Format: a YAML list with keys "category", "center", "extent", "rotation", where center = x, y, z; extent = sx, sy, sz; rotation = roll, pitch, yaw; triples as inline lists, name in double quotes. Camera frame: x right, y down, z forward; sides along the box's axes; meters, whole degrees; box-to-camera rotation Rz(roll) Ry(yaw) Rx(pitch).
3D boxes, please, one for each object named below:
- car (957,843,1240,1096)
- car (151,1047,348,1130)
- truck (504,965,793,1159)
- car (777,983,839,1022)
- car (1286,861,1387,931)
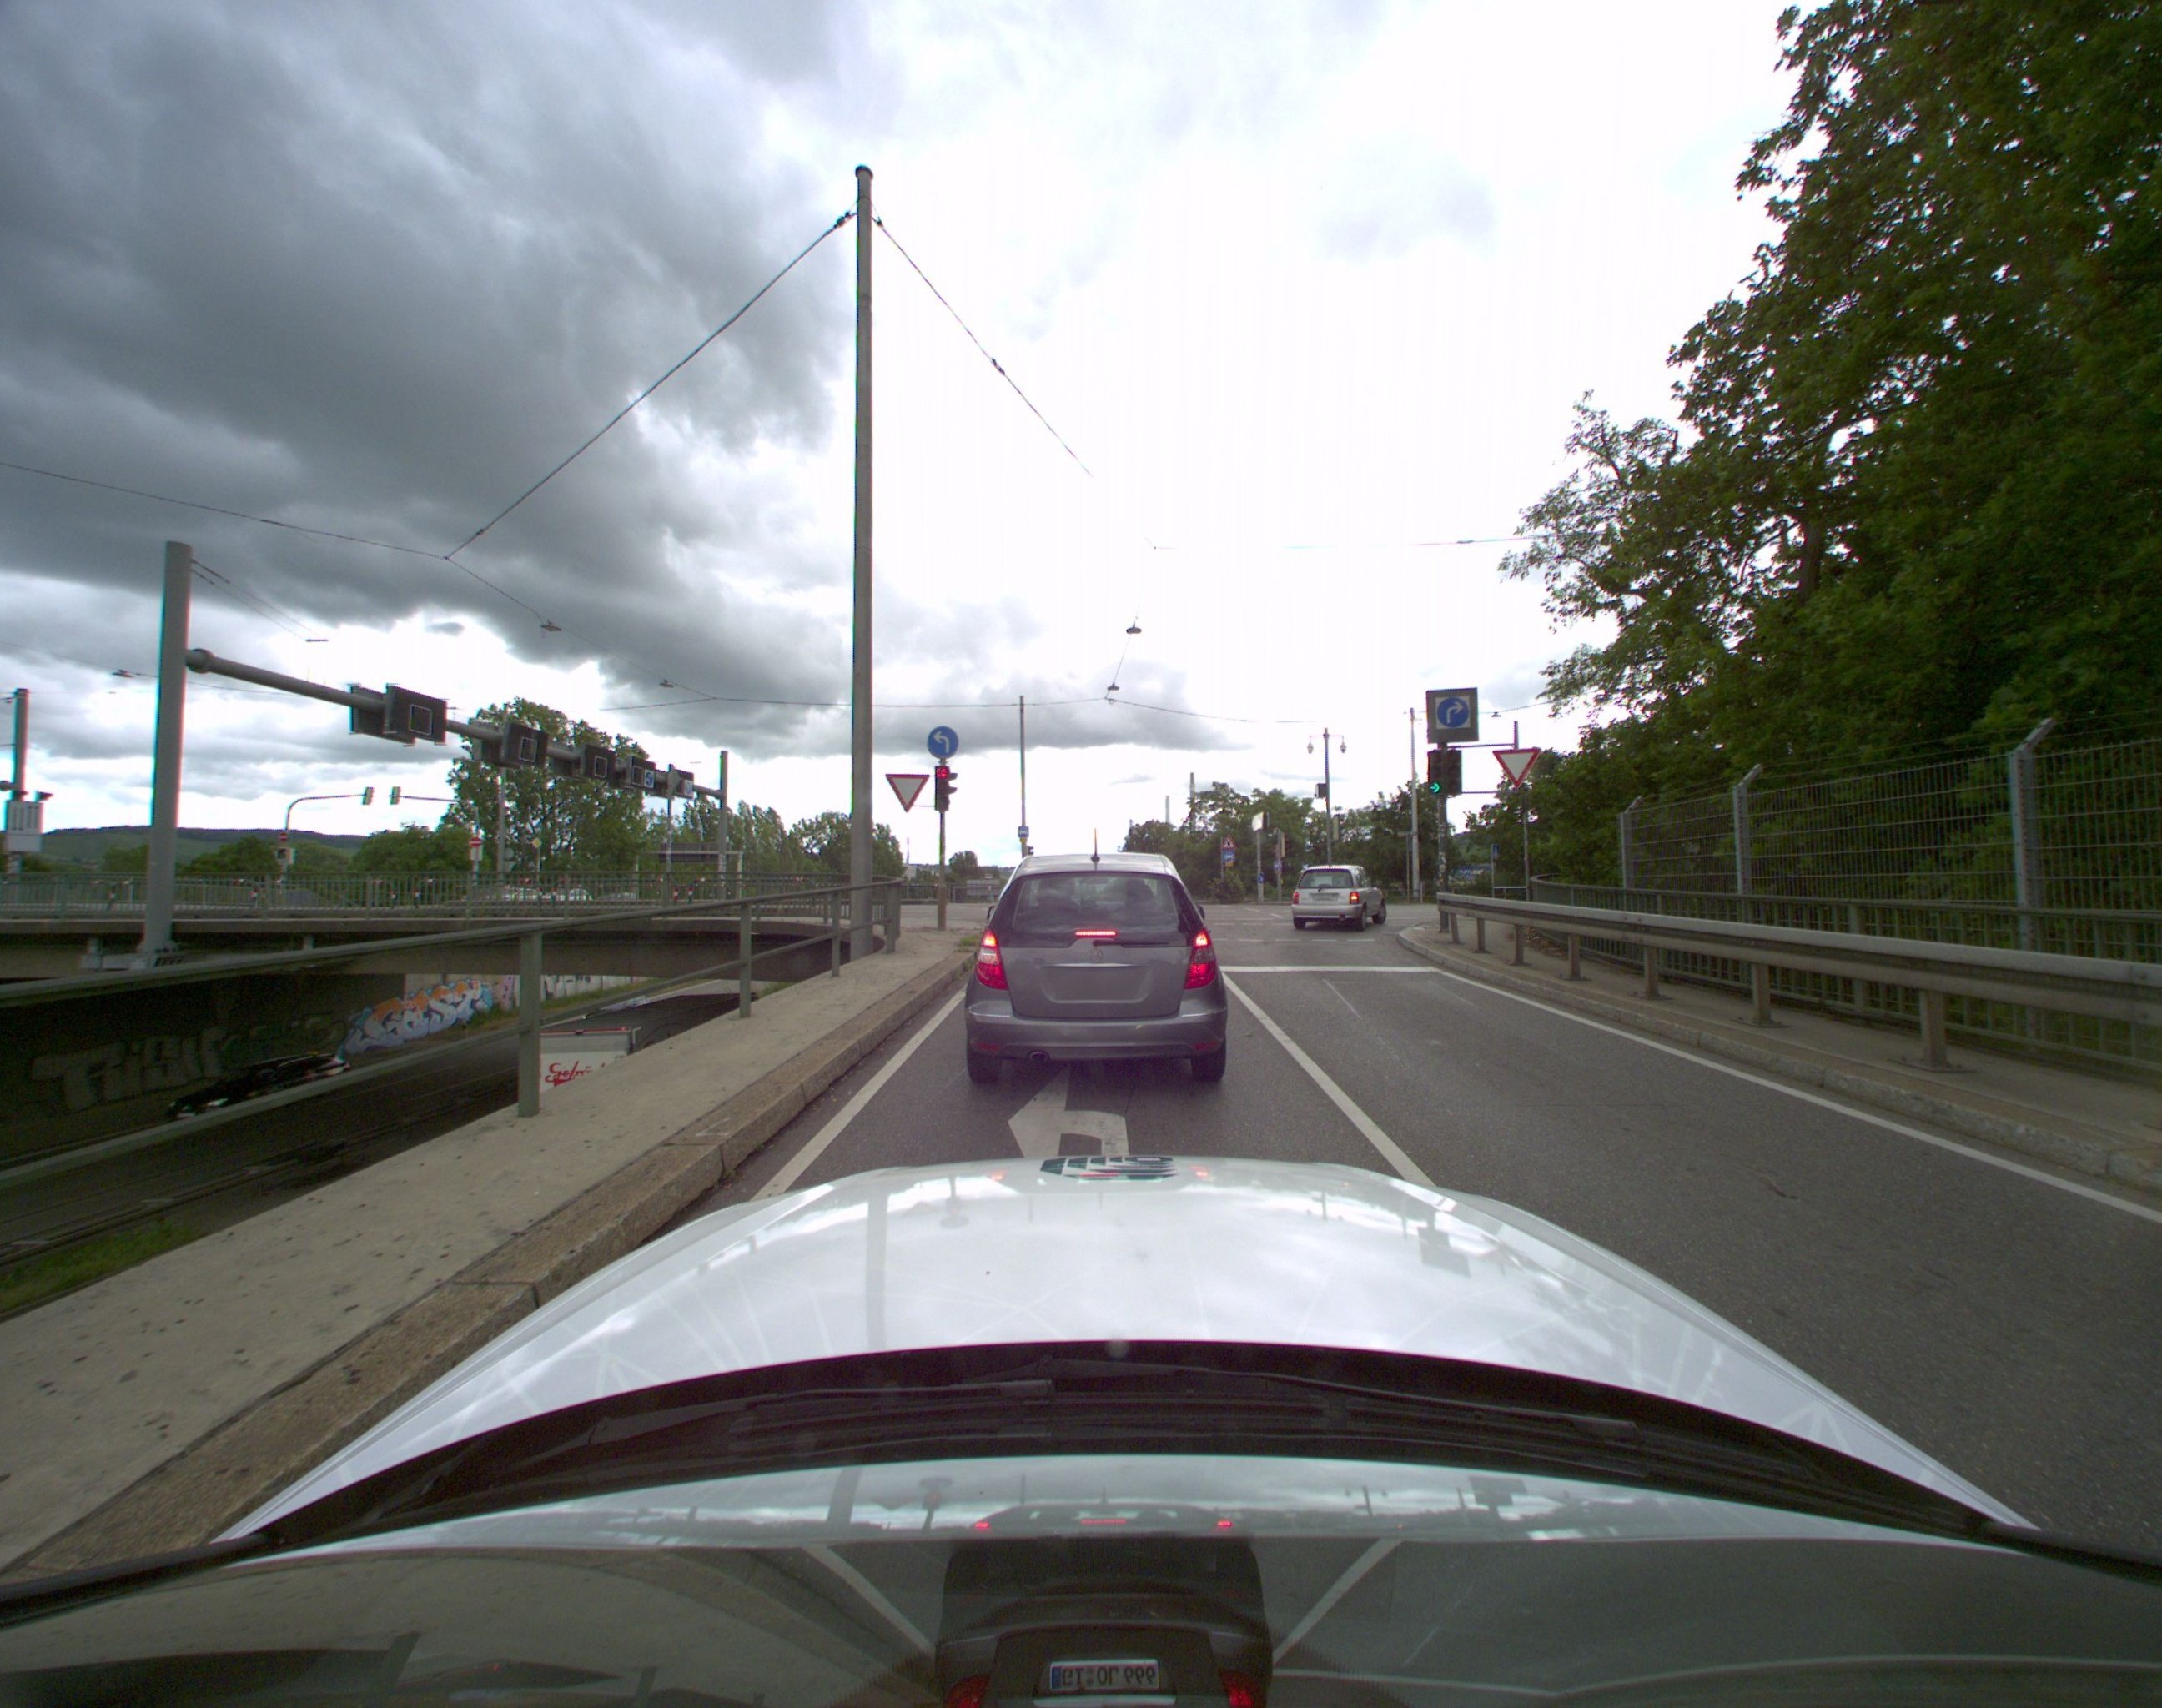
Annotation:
- category: "car"
  center: [0.165, 0.726, 6.782]
  extent: [1.733, 1.543, 3.542]
  rotation: [0, -1, 2]
- category: "car"
  center: [-28.156, 7.897, 27.854]
  extent: [1.853, 1.652, 4.634]
  rotation: [-2, -3, 2]
- category: "truck"
  center: [-12.041, 5.601, 24.260]
  extent: [2.871, 3.526, 9.875]
  rotation: [-3, -3, 2]
- category: "car"
  center: [-15.089, 8.179, 45.185]
  extent: [1.822, 1.579, 4.185]
  rotation: [-1, -3, 3]
- category: "car"
  center: [6.044, 0.914, 19.027]
  extent: [1.570, 1.431, 3.464]
  rotation: [-1, -1, 29]
